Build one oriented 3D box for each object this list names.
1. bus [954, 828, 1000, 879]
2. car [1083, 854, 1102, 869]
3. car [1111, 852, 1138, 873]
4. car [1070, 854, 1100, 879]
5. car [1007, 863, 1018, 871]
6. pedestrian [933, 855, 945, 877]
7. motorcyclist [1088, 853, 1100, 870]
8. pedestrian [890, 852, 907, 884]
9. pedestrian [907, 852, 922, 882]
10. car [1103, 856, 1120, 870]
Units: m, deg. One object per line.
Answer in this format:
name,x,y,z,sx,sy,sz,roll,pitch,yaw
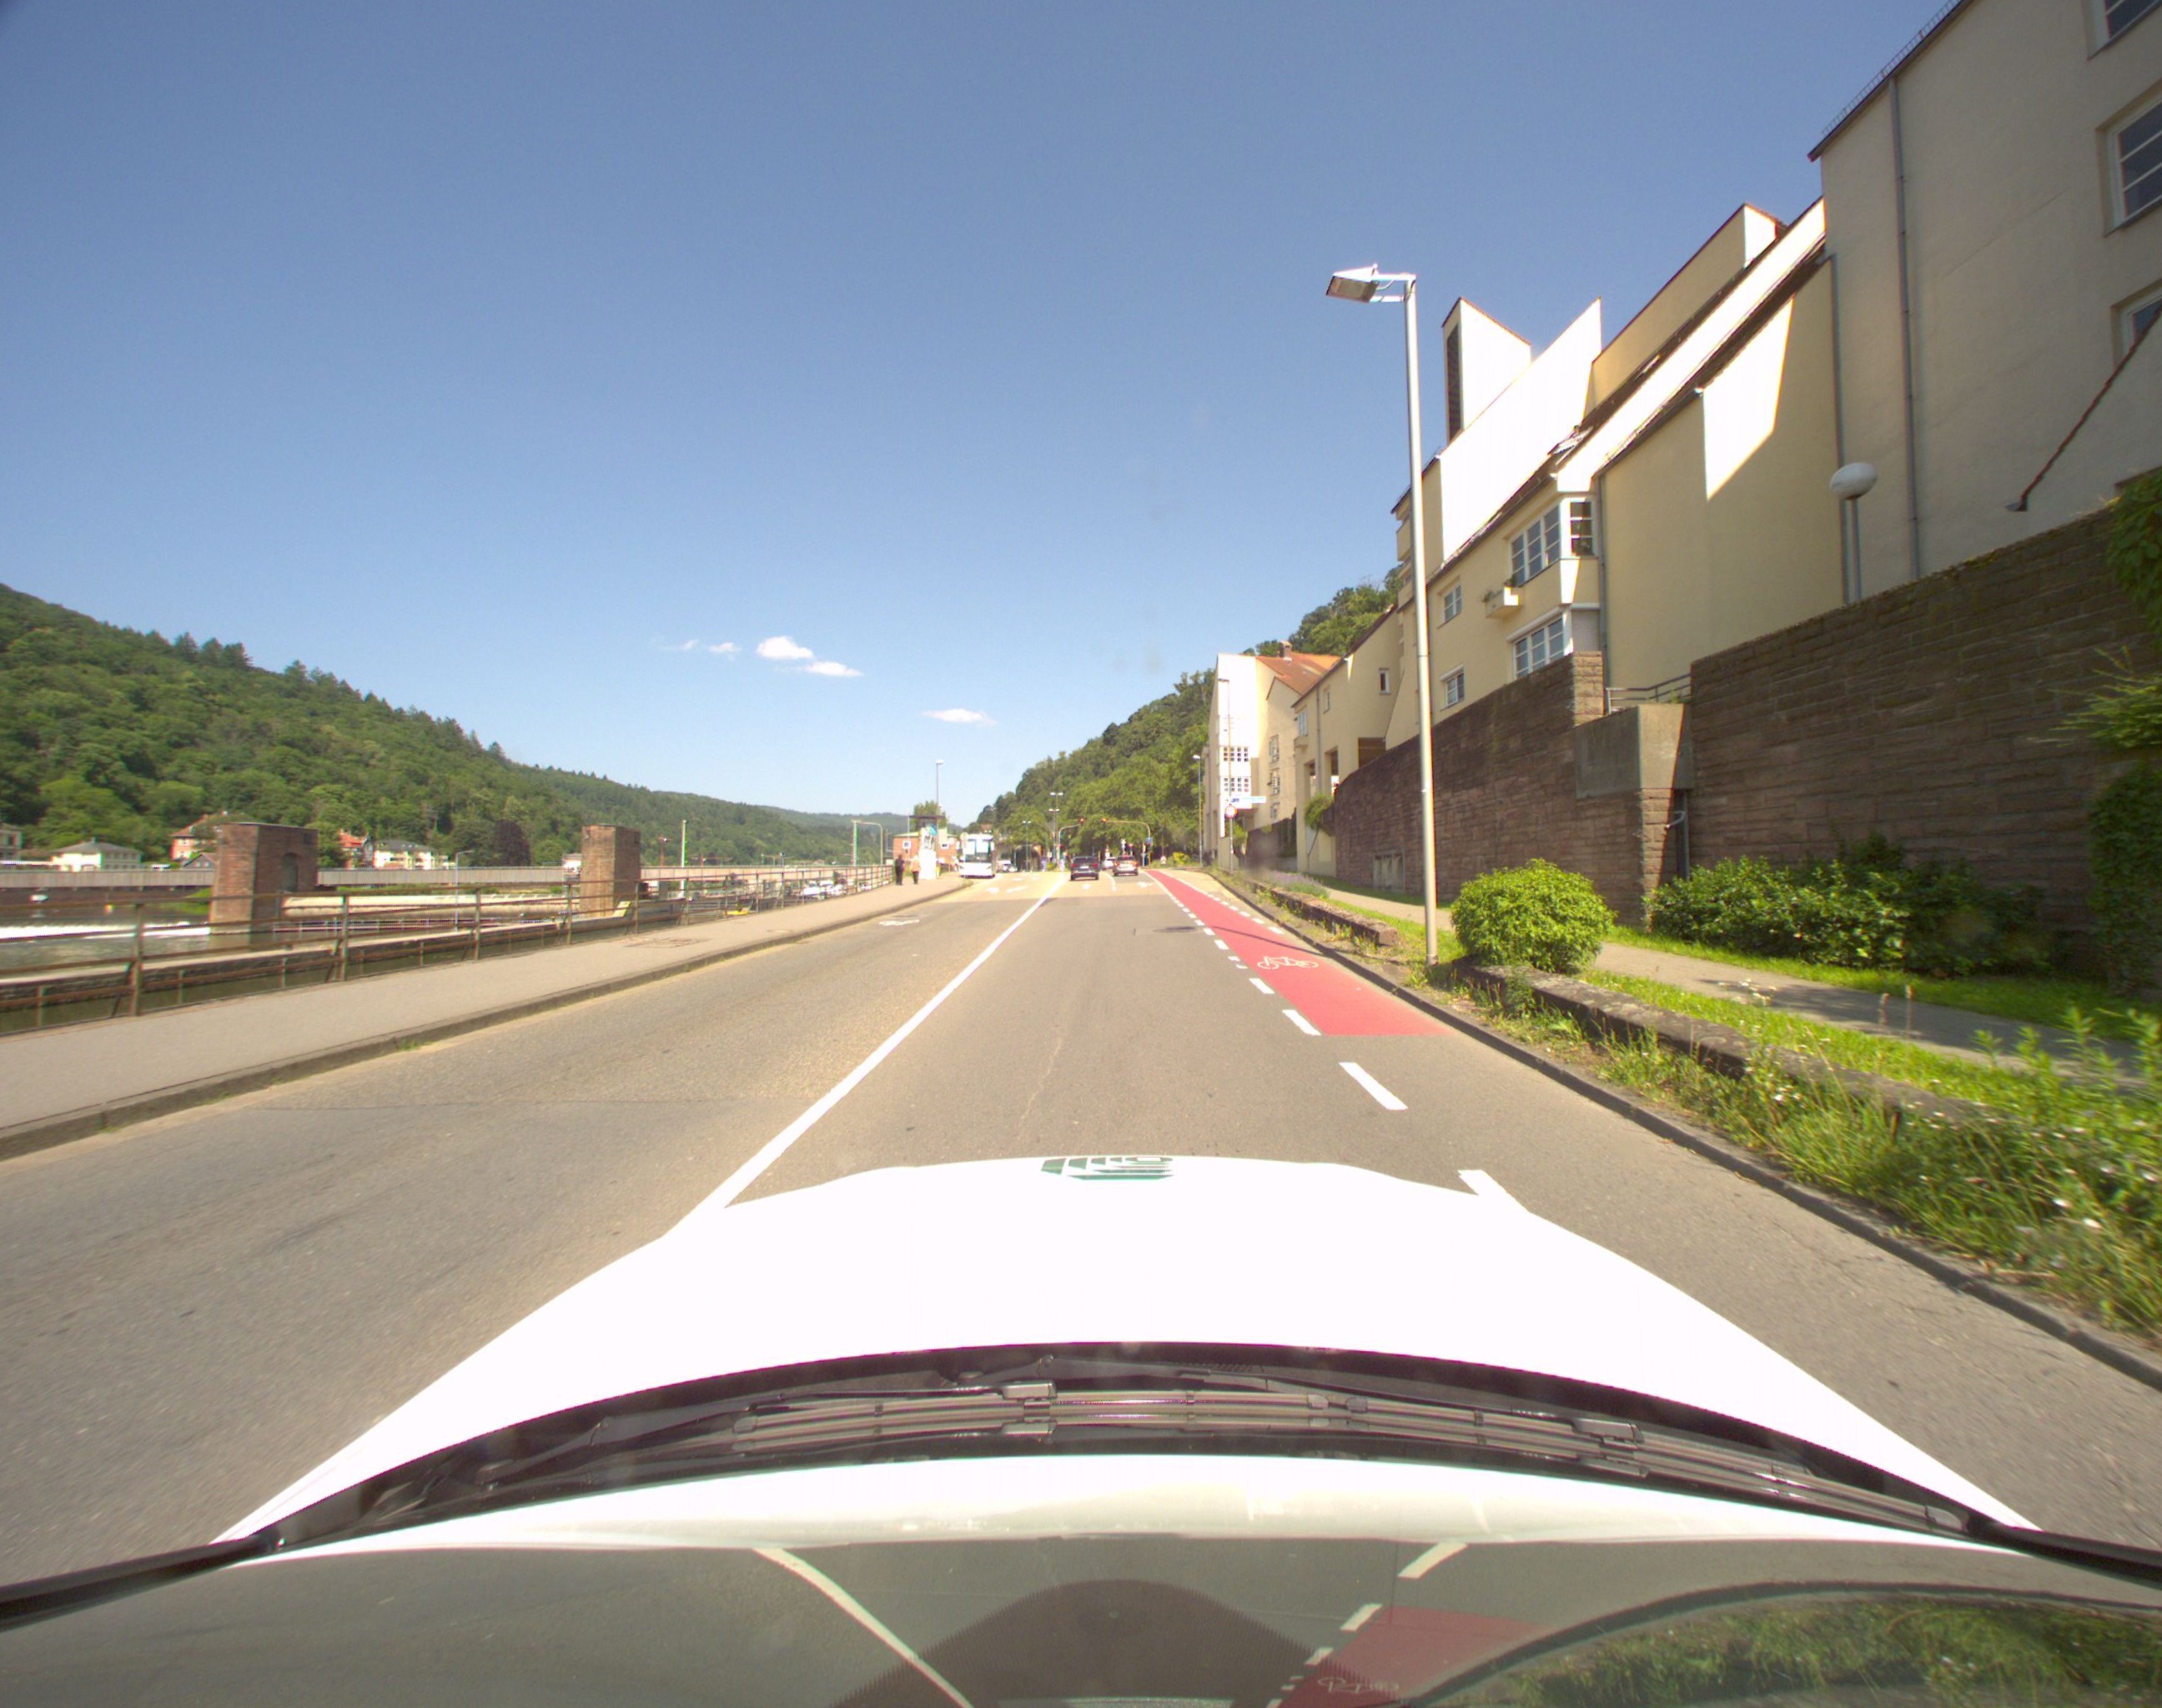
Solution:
bus,-8.786,0.021,70.029,2.951,3.801,13.224,3,-1,-4
car,1.166,0.790,86.981,1.861,1.562,3.997,-2,0,-1
car,3.243,0.679,61.516,1.881,1.521,4.306,0,-1,1
car,0.279,0.776,52.048,1.862,1.514,4.151,0,-1,1
car,-12.607,2.402,150.476,1.991,1.432,4.159,-2,0,-5
pedestrian,-11.531,0.986,66.059,0.891,1.796,1.039,-1,-1,-5
motorcyclist,1.283,0.753,81.016,1.072,1.684,1.156,-2,-1,0
pedestrian,-9.686,0.743,43.283,0.681,1.709,0.773,-1,-1,-1
pedestrian,-9.156,0.704,44.884,0.701,1.621,0.815,-1,-1,-5
car,3.551,1.072,95.220,1.780,1.532,4.735,-2,-1,0
